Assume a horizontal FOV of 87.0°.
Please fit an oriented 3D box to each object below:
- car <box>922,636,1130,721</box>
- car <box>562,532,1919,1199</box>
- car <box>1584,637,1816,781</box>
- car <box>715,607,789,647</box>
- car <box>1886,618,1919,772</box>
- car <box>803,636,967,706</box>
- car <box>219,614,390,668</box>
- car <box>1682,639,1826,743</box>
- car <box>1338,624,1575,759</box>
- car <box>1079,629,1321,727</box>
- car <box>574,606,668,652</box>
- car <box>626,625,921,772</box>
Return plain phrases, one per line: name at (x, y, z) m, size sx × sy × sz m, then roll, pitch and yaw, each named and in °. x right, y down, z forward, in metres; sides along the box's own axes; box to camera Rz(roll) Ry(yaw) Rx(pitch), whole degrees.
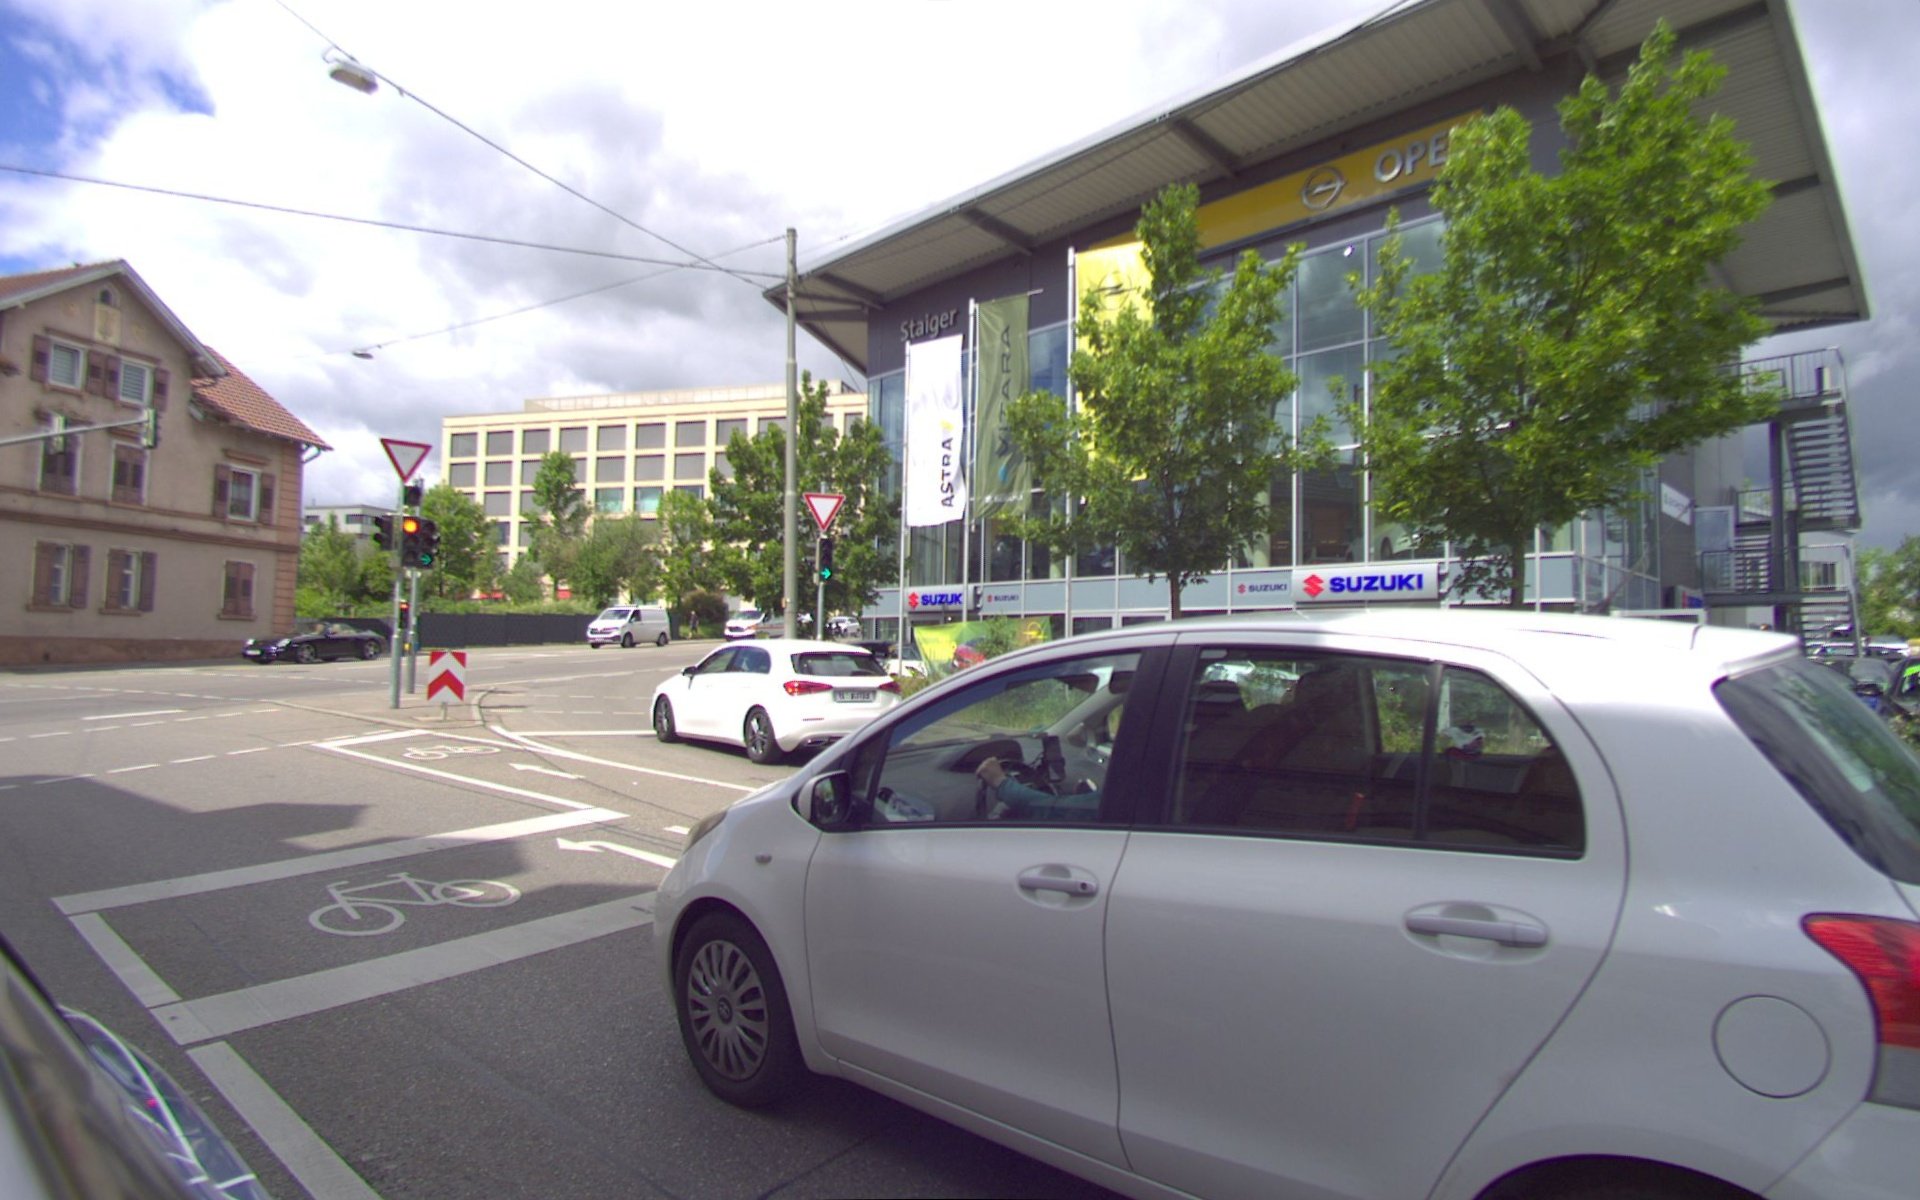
car at (1.359, 1.627, 22.115) m, size 4.306 × 1.574 × 1.921 m, roll -1°, pitch -1°, yaw 43°
car at (0.629, 0.739, 2.932) m, size 3.999 × 1.593 × 1.701 m, roll -1°, pitch -1°, yaw 42°
car at (8.892, 1.209, 12.033) m, size 1.812 × 1.405 × 4.023 m, roll -3°, pitch -5°, yaw 41°
car at (-11.095, 1.397, 54.305) m, size 1.980 × 2.008 × 4.968 m, roll -1°, pitch 0°, yaw 13°
car at (10.554, 0.956, 9.917) m, size 1.810 × 1.509 × 4.166 m, roll -3°, pitch -5°, yaw 38°
car at (-1.965, 1.698, 25.327) m, size 1.919 × 1.485 × 4.312 m, roll 1°, pitch -1°, yaw -41°
car at (-20.231, 1.229, 31.486) m, size 1.980 × 1.477 × 4.312 m, roll -1°, pitch 0°, yaw 13°
car at (11.921, 1.336, 15.222) m, size 1.516 × 1.384 × 2.981 m, roll -3°, pitch -5°, yaw 39°
car at (6.702, 1.169, 13.468) m, size 1.812 × 1.509 × 3.944 m, roll -3°, pitch -5°, yaw 41°
car at (4.386, 1.353, 18.862) m, size 1.920 × 1.574 × 3.999 m, roll 1°, pitch -1°, yaw -44°
car at (-16.071, 1.350, 48.310) m, size 1.981 × 2.027 × 4.794 m, roll -1°, pitch 0°, yaw 15°
car at (-2.533, 1.125, 12.833) m, size 1.697 × 1.508 × 4.471 m, roll 5°, pitch -4°, yaw -39°
